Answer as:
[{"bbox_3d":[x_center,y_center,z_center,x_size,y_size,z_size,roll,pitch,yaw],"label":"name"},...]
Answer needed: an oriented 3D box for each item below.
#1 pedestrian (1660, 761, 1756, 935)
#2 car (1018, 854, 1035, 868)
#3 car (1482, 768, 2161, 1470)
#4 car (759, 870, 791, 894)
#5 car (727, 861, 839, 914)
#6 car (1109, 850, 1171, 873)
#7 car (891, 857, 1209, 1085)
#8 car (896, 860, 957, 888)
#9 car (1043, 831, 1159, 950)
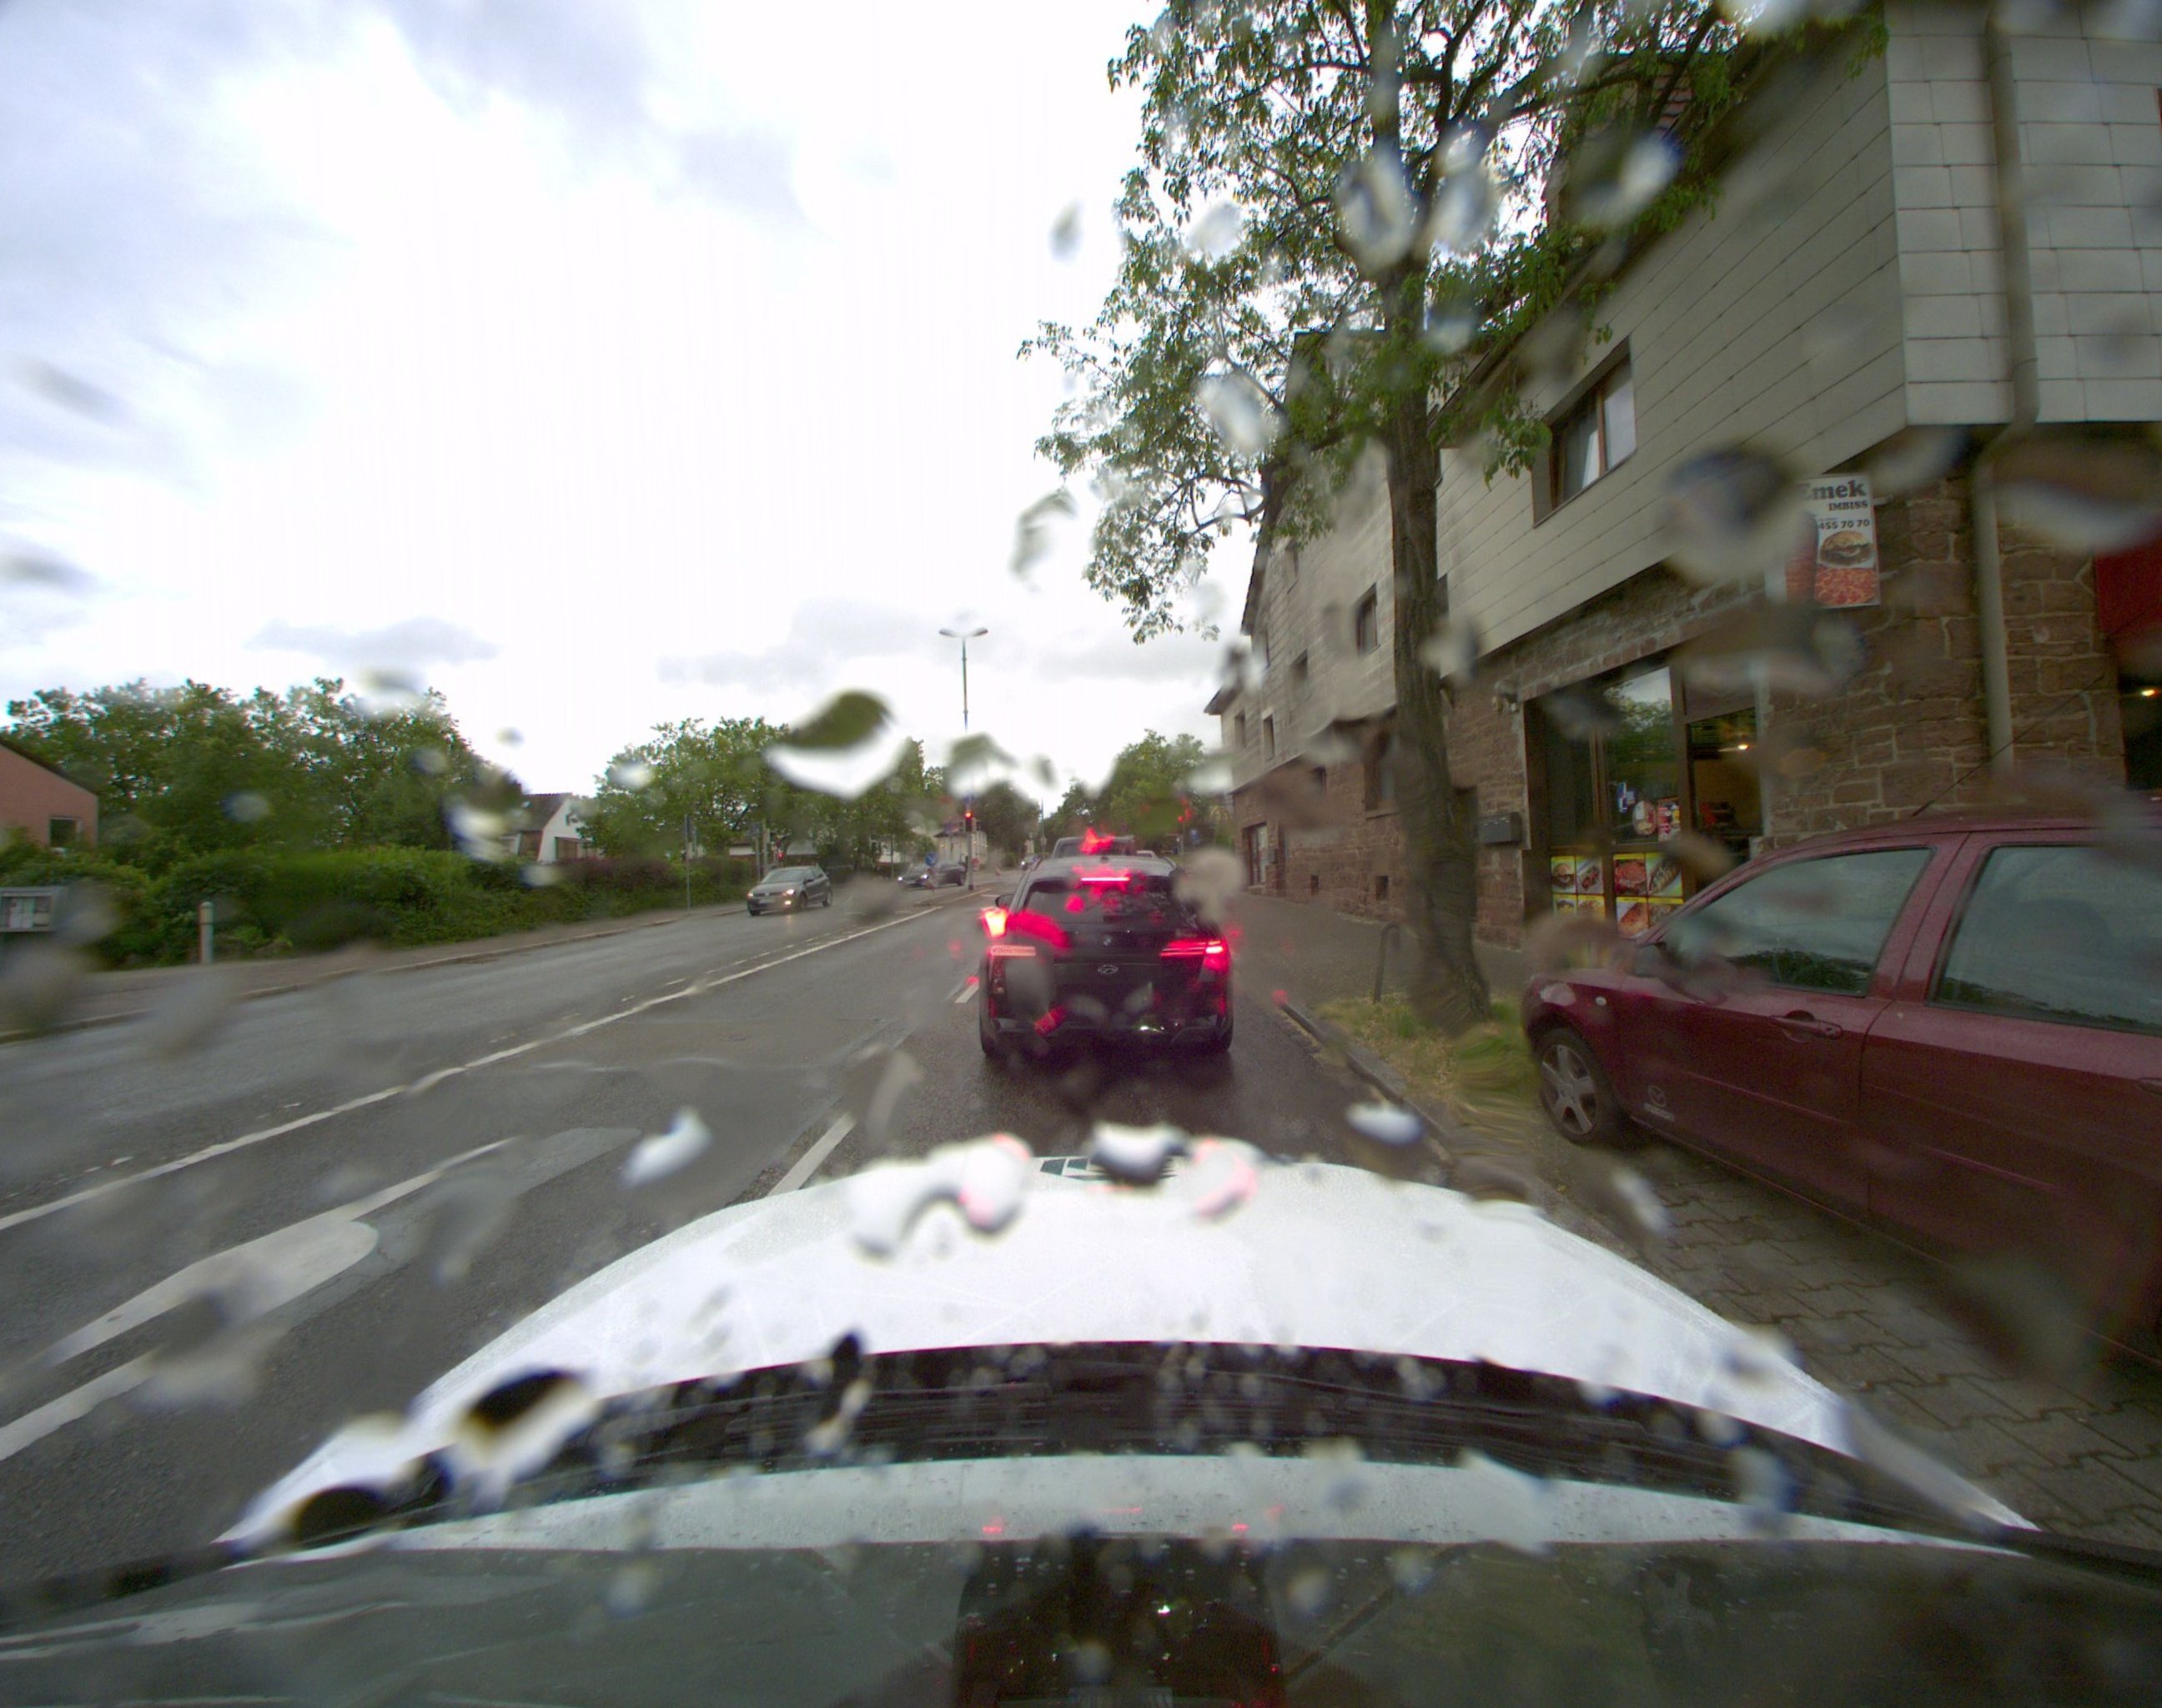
[{"bbox_3d":[6.859,-0.062,8.929,0.635,1.839,0.483,-1,0,1],"label":"pedestrian"},{"bbox_3d":[-5.787,0.709,86.546,1.459,1.398,3.323,-1,0,2],"label":"car"},{"bbox_3d":[3.041,0.512,2.614,1.579,1.490,3.626,-5,1,-1],"label":"car"},{"bbox_3d":[-21.687,1.964,57.857,2.000,1.552,3.973,-2,0,-20],"label":"car"},{"bbox_3d":[-9.567,1.025,26.486,1.985,1.510,3.958,-1,0,3],"label":"car"},{"bbox_3d":[4.222,0.517,58.170,4.005,1.552,1.810,-2,0,-24],"label":"car"},{"bbox_3d":[-0.219,0.766,7.554,2.058,1.446,4.481,-1,0,-1],"label":"car"},{"bbox_3d":[-8.002,0.991,42.508,1.831,1.288,4.011,-1,0,9],"label":"car"},{"bbox_3d":[0.312,0.569,14.763,1.778,1.817,3.999,-1,0,0],"label":"car"}]
